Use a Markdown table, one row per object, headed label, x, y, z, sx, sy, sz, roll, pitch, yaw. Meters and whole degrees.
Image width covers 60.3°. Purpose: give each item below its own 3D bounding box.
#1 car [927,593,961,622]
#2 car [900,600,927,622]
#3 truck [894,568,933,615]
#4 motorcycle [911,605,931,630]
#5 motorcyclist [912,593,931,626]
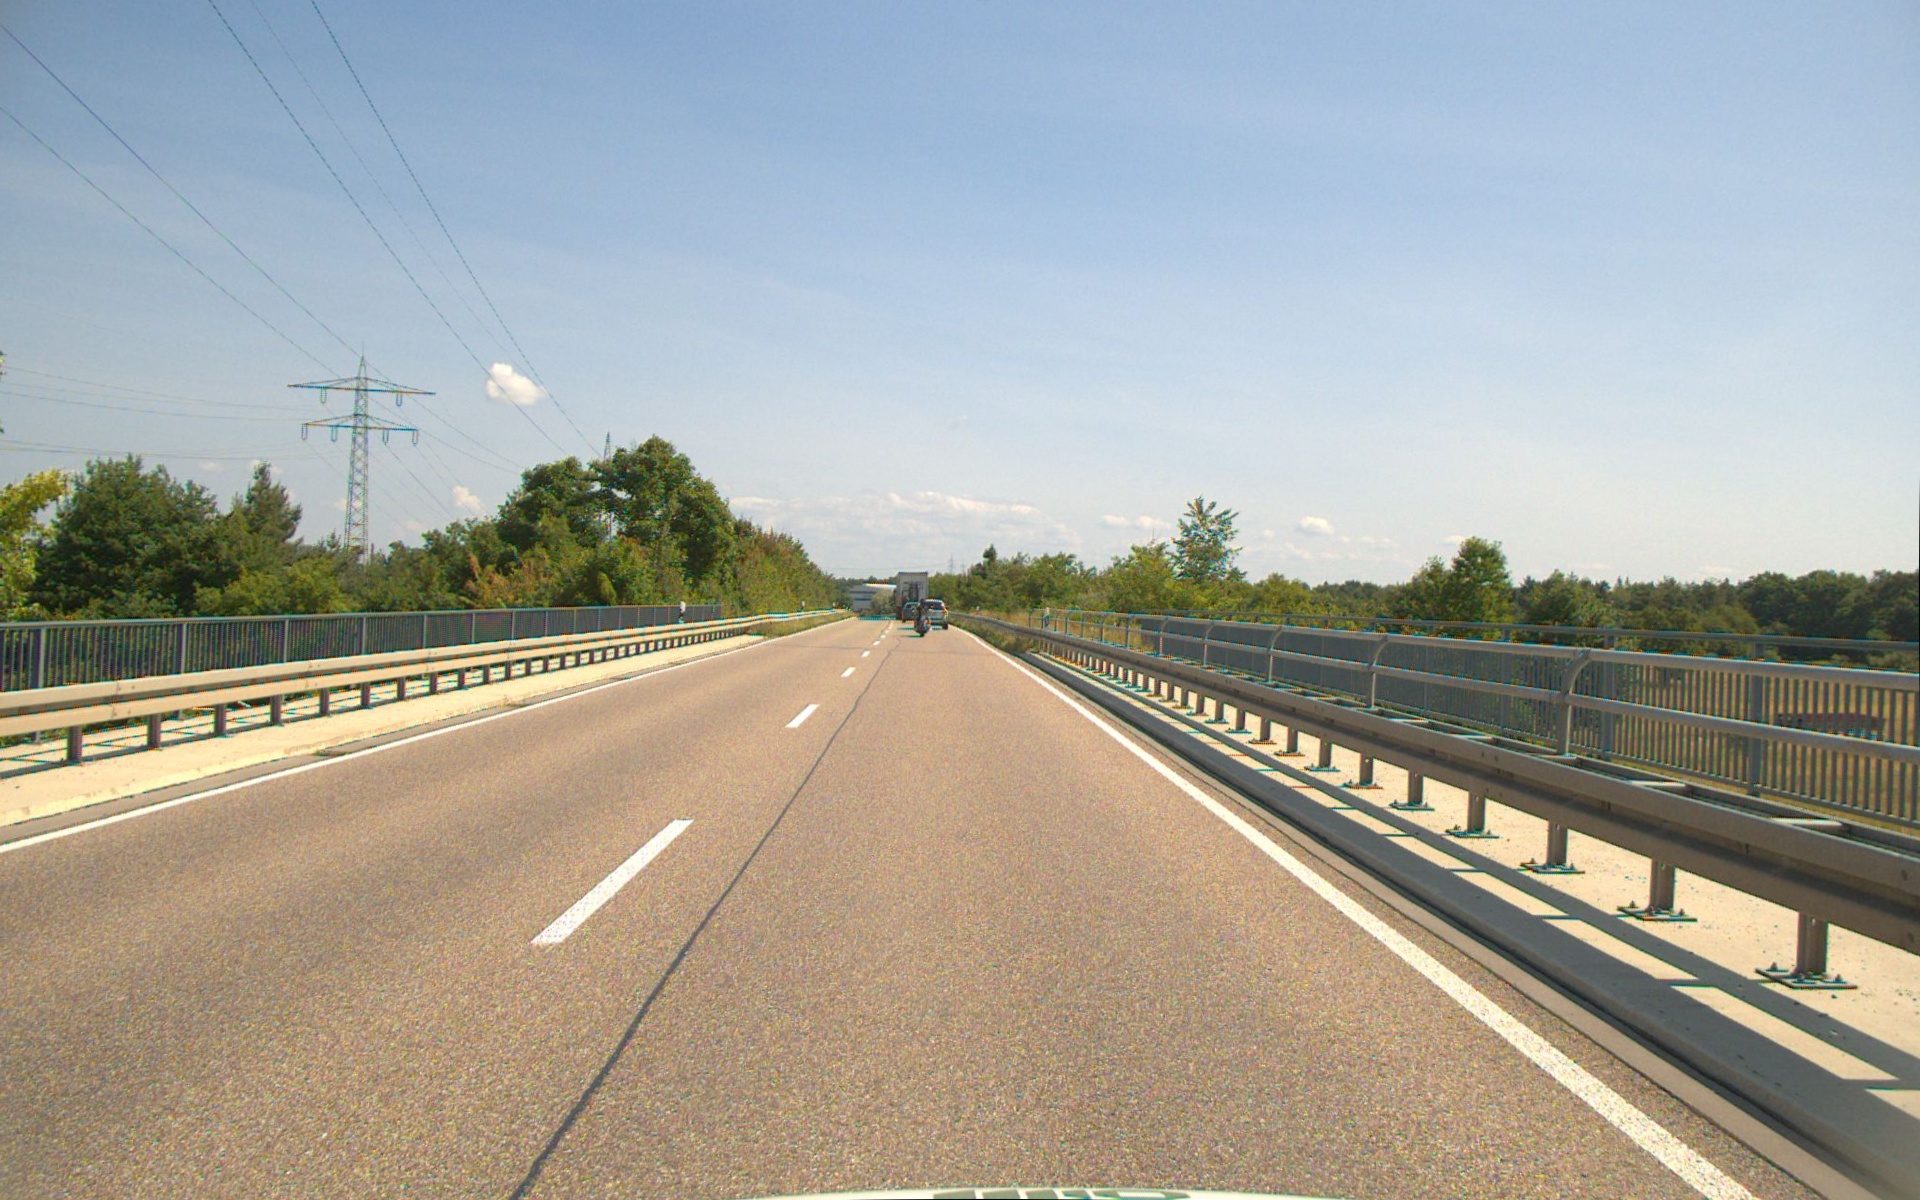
| label | x | y | z | sx | sy | sz | roll | pitch | yaw |
| --- | --- | --- | --- | --- | --- | --- | --- | --- | --- |
| car | -0.900 | 0.377 | 89.152 | 1.788 | 1.477 | 3.999 | 1 | 1 | -1 |
| car | -3.345 | 0.782 | 119.344 | 1.827 | 1.445 | 4.000 | 1 | 1 | 0 |
| truck | -4.070 | -0.745 | 146.378 | 3.175 | 4.048 | 9.443 | 1 | 0 | 0 |
| motorcycle | -1.632 | 0.722 | 69.270 | 0.764 | 0.992 | 2.362 | 1 | 1 | 1 |
| motorcyclist | -1.618 | 0.395 | 69.288 | 0.764 | 1.349 | 0.813 | 1 | 0 | 0 |
